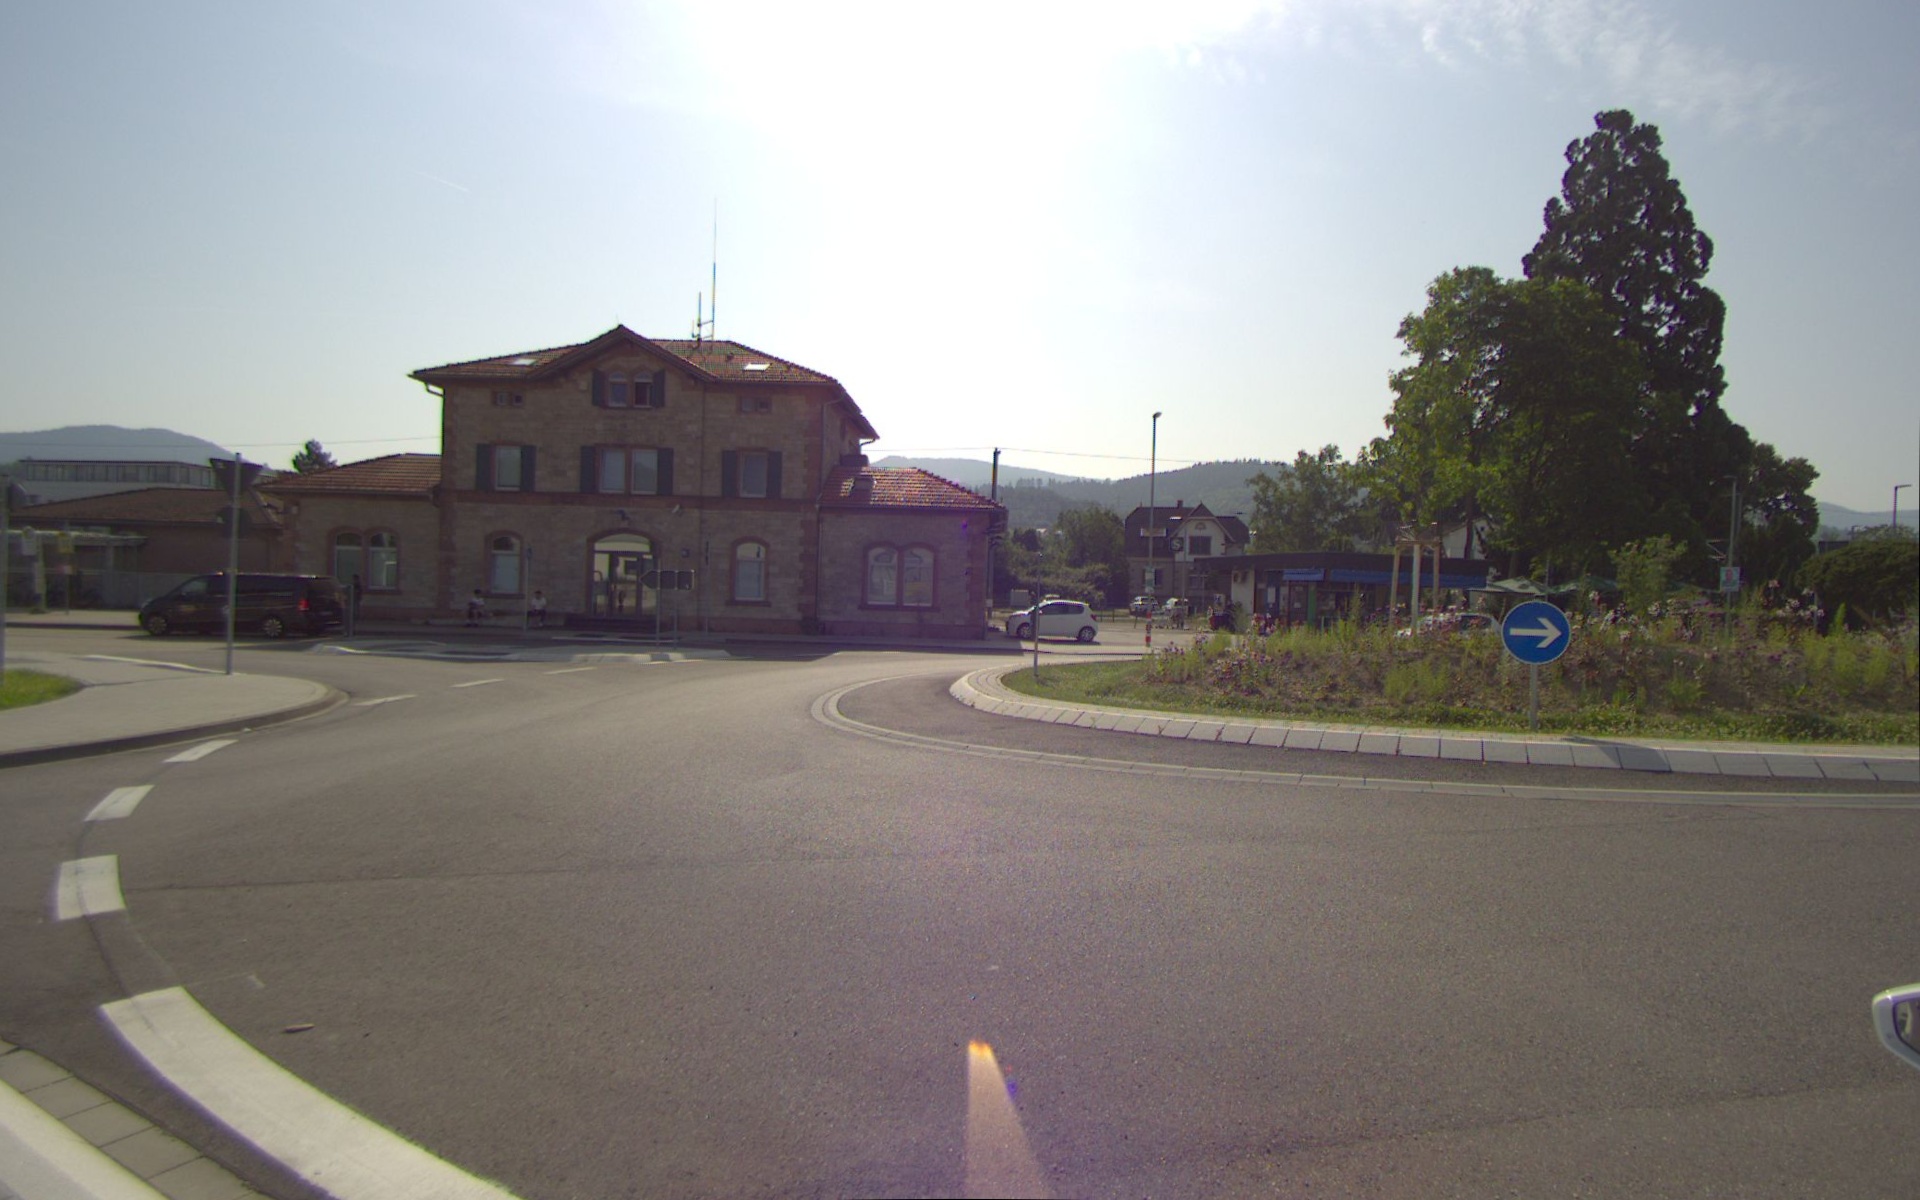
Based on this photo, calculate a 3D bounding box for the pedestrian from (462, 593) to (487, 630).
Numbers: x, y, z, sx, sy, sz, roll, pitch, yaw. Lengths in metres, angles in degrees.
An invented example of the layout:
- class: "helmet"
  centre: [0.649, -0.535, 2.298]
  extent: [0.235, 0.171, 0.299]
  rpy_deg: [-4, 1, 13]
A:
- class: "pedestrian"
  centre: [-16.488, 0.383, 34.117]
  extent: [0.573, 1.220, 0.443]
  rpy_deg: [2, 0, -2]

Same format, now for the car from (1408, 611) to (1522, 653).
- class: "car"
  centre: [15.424, 0.966, 30.670]
  extent: [3.198, 1.187, 1.384]
  rpy_deg: [1, 1, -24]

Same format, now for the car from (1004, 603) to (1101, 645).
- class: "car"
  centre: [3.454, 0.895, 37.783]
  extent: [3.469, 1.469, 1.392]
  rpy_deg: [1, 1, -3]

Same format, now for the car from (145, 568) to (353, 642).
- class: "car"
  centre: [-21.009, 0.147, 29.821]
  extent: [4.786, 1.971, 1.846]
  rpy_deg: [2, 0, 0]

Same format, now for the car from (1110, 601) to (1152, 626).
- class: "car"
  centre: [9.538, 0.744, 56.251]
  extent: [1.425, 1.283, 3.261]
  rpy_deg: [2, -1, -7]

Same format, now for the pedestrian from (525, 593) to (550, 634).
- class: "pedestrian"
  centre: [-14.295, 0.445, 33.990]
  extent: [0.541, 1.367, 0.566]
  rpy_deg: [2, 0, 1]

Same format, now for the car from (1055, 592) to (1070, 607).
- class: "car"
  centre: [9.601, -0.059, 94.175]
  extent: [1.364, 1.382, 3.539]
  rpy_deg: [1, 0, 6]

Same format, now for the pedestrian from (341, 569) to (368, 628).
- class: "pedestrian"
  centre: [-21.187, -0.035, 35.150]
  extent: [0.566, 2.040, 0.530]
  rpy_deg: [2, 0, 17]

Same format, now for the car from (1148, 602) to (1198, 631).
- class: "car"
  centre: [10.644, 0.810, 50.400]
  extent: [1.390, 1.344, 3.591]
  rpy_deg: [1, 0, -6]

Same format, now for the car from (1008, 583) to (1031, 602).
- class: "car"
  centre: [4.966, -0.611, 84.010]
  extent: [1.581, 1.554, 3.581]
  rpy_deg: [2, -1, -1]
